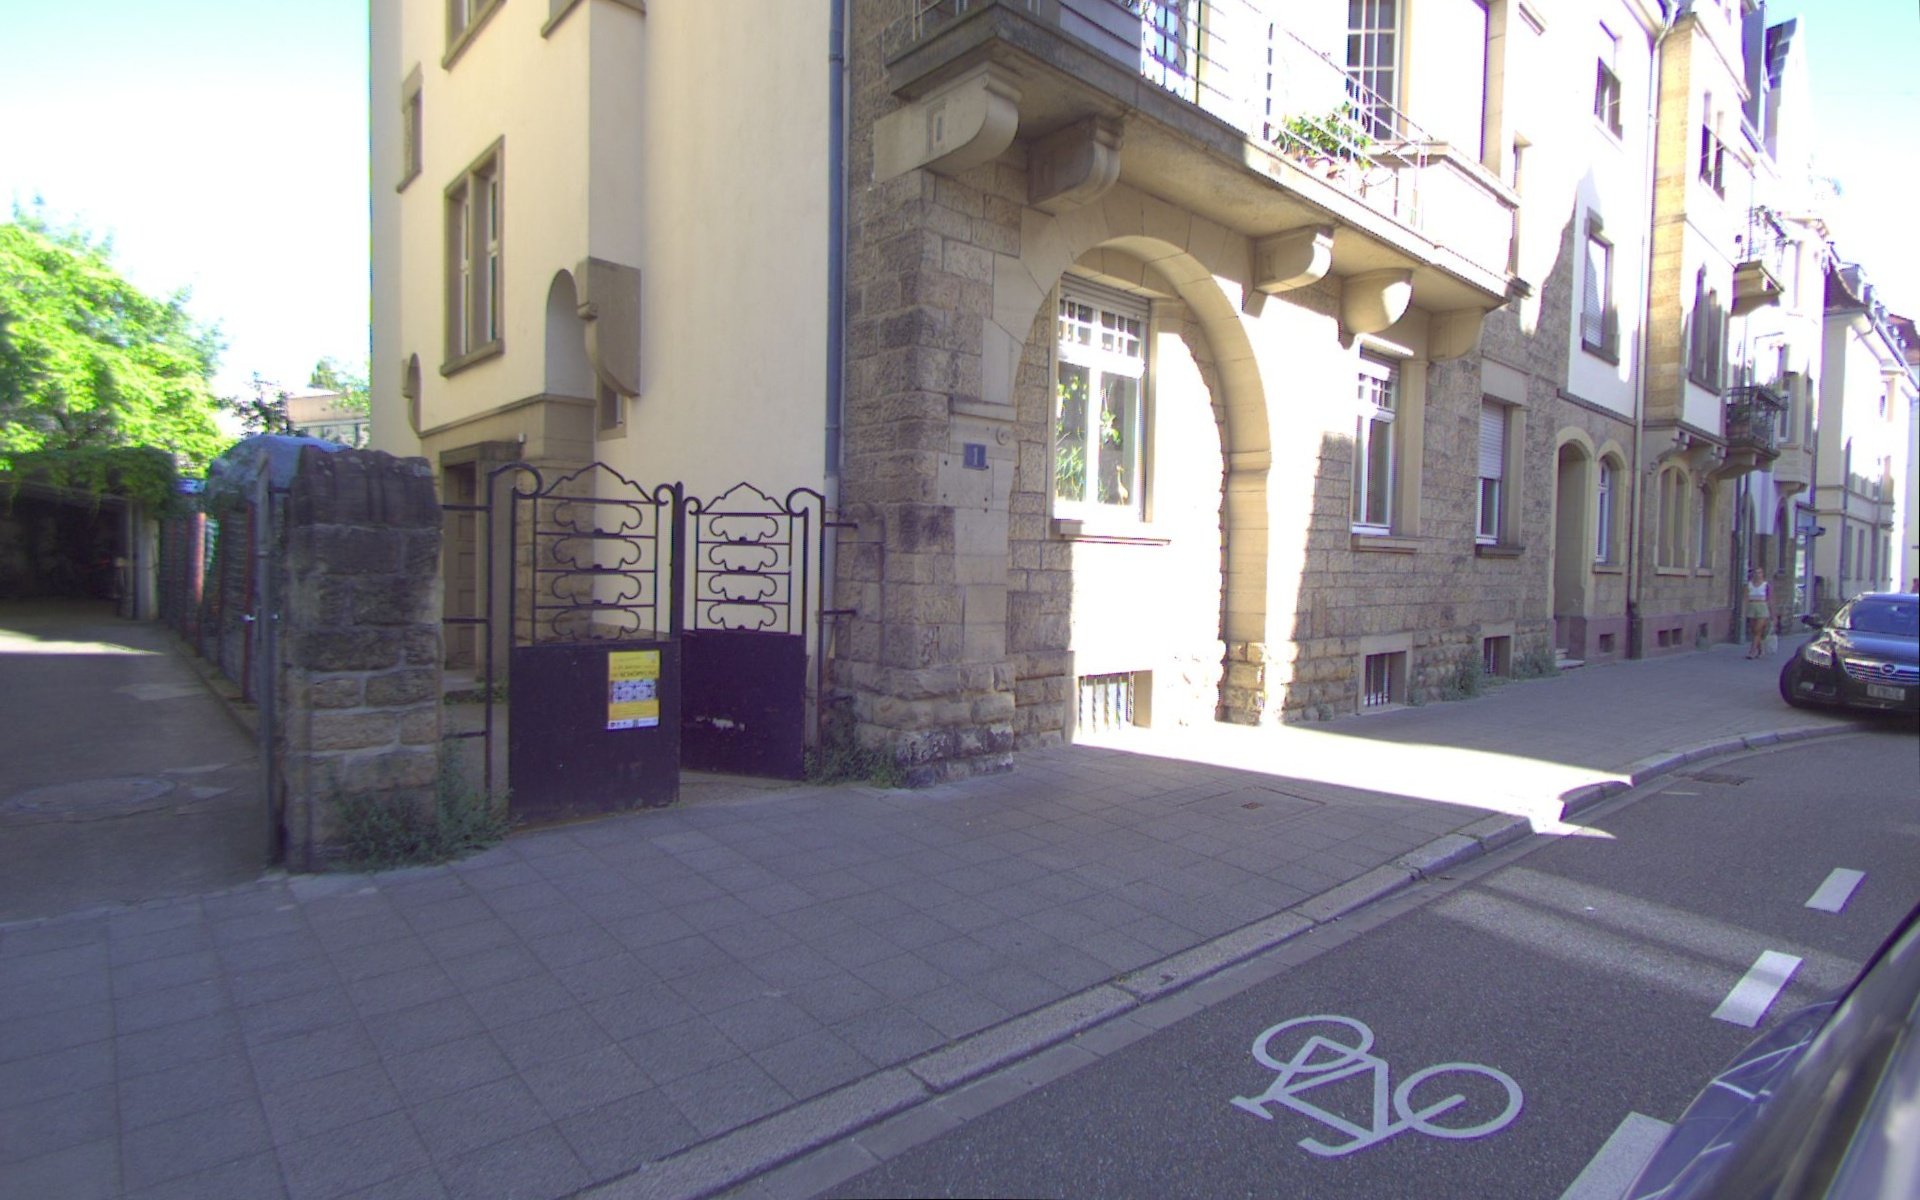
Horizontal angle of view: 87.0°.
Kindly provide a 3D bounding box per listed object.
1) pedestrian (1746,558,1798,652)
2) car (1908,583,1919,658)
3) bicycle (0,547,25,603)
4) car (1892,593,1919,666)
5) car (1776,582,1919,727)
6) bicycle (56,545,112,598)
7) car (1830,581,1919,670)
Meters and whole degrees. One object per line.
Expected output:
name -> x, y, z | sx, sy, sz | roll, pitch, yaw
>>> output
pedestrian -> 15.610, 0.079, 19.458 | 0.685, 1.743, 0.578 | 0, 3, -41
car -> 22.653, 0.446, 22.681 | 3.755, 1.616, 1.830 | 0, 0, -43
bicycle -> -18.791, -0.502, 19.741 | 1.980, 1.021, 0.643 | 4, 5, 43
car -> 19.700, 0.547, 19.851 | 3.755, 1.362, 1.830 | 0, 0, -43
car -> 11.650, 0.580, 12.333 | 3.930, 1.557, 1.997 | 0, 0, -41
bicycle -> -18.085, -0.609, 20.872 | 1.980, 1.021, 0.643 | 4, 5, 43
car -> 16.057, 0.386, 16.856 | 3.930, 1.362, 1.832 | 0, 0, -41
